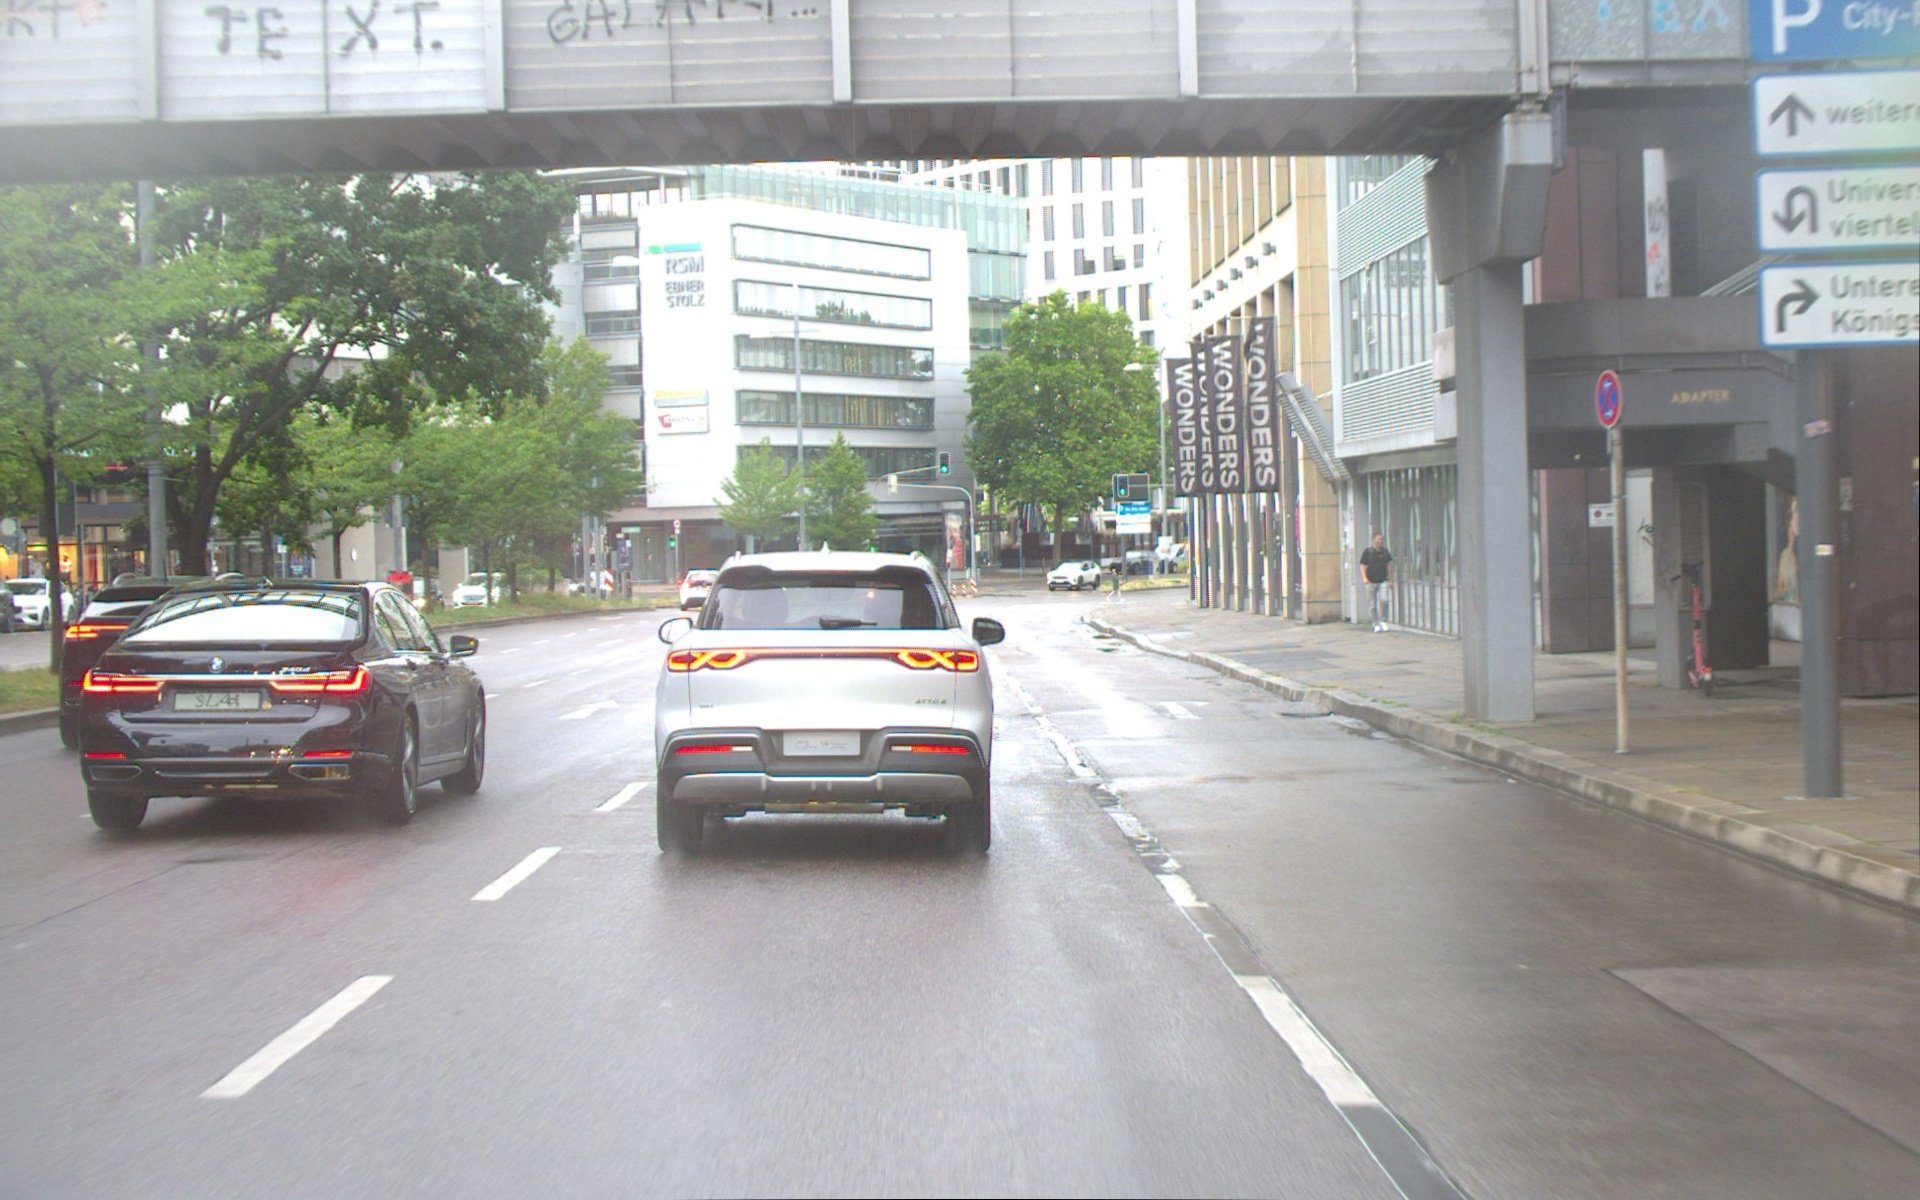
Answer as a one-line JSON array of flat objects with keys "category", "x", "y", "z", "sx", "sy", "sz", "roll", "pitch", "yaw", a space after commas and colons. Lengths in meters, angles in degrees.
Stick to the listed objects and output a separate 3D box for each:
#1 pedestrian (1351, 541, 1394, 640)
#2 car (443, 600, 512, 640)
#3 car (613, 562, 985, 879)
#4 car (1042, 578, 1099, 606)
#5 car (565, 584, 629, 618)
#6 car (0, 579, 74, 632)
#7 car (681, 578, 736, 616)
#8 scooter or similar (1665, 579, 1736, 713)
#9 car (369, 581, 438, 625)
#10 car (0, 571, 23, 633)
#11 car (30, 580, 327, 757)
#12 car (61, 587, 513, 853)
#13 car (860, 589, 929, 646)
[{"category": "pedestrian", "x": 7.460, "y": -0.165, "z": 62.238, "sx": 0.635, "sy": 1.766, "sz": 0.790, "roll": -1, "pitch": 0, "yaw": 0}, {"category": "car", "x": -18.944, "y": 0.783, "z": 135.068, "sx": 1.624, "sy": 1.487, "sz": 4.305, "roll": -1, "pitch": 0, "yaw": 7}, {"category": "car", "x": -0.855, "y": 0.612, "z": 19.666, "sx": 1.901, "sy": 1.616, "sz": 4.000, "roll": 0, "pitch": 0, "yaw": -1}, {"category": "car", "x": 6.294, "y": -0.461, "z": 195.630, "sx": 1.583, "sy": 1.533, "sz": 3.993, "roll": 0, "pitch": 0, "yaw": 30}, {"category": "car", "x": -16.026, "y": 0.064, "z": 152.036, "sx": 1.624, "sy": 1.448, "sz": 4.160, "roll": -1, "pitch": 0, "yaw": 11}, {"category": "car", "x": -25.991, "y": 0.142, "z": 96.041, "sx": 1.623, "sy": 1.455, "sz": 3.963, "roll": 0, "pitch": 0, "yaw": -3}, {"category": "car", "x": -9.280, "y": -0.117, "z": 126.926, "sx": 1.653, "sy": 1.337, "sz": 4.000, "roll": -1, "pitch": 0, "yaw": 1}, {"category": "scooter or similar", "x": 7.090, "y": 0.425, "z": 32.945, "sx": 0.349, "sy": 1.251, "sz": 1.395, "roll": -1, "pitch": 0, "yaw": -1}, {"category": "car", "x": -17.425, "y": 0.103, "z": 107.712, "sx": 1.623, "sy": 1.307, "sz": 3.618, "roll": -1, "pitch": 0, "yaw": -1}, {"category": "car", "x": -25.840, "y": 0.051, "z": 90.023, "sx": 1.623, "sy": 1.605, "sz": 4.232, "roll": 0, "pitch": 0, "yaw": -3}, {"category": "car", "x": -6.985, "y": 0.588, "z": 31.101, "sx": 1.774, "sy": 1.452, "sz": 4.000, "roll": -1, "pitch": 0, "yaw": 0}, {"category": "car", "x": -4.138, "y": 0.673, "z": 21.953, "sx": 1.872, "sy": 1.474, "sz": 4.878, "roll": -1, "pitch": 0, "yaw": 1}, {"category": "car", "x": -1.885, "y": 0.498, "z": 100.115, "sx": 1.812, "sy": 1.573, "sz": 4.000, "roll": -1, "pitch": 0, "yaw": 2}]
